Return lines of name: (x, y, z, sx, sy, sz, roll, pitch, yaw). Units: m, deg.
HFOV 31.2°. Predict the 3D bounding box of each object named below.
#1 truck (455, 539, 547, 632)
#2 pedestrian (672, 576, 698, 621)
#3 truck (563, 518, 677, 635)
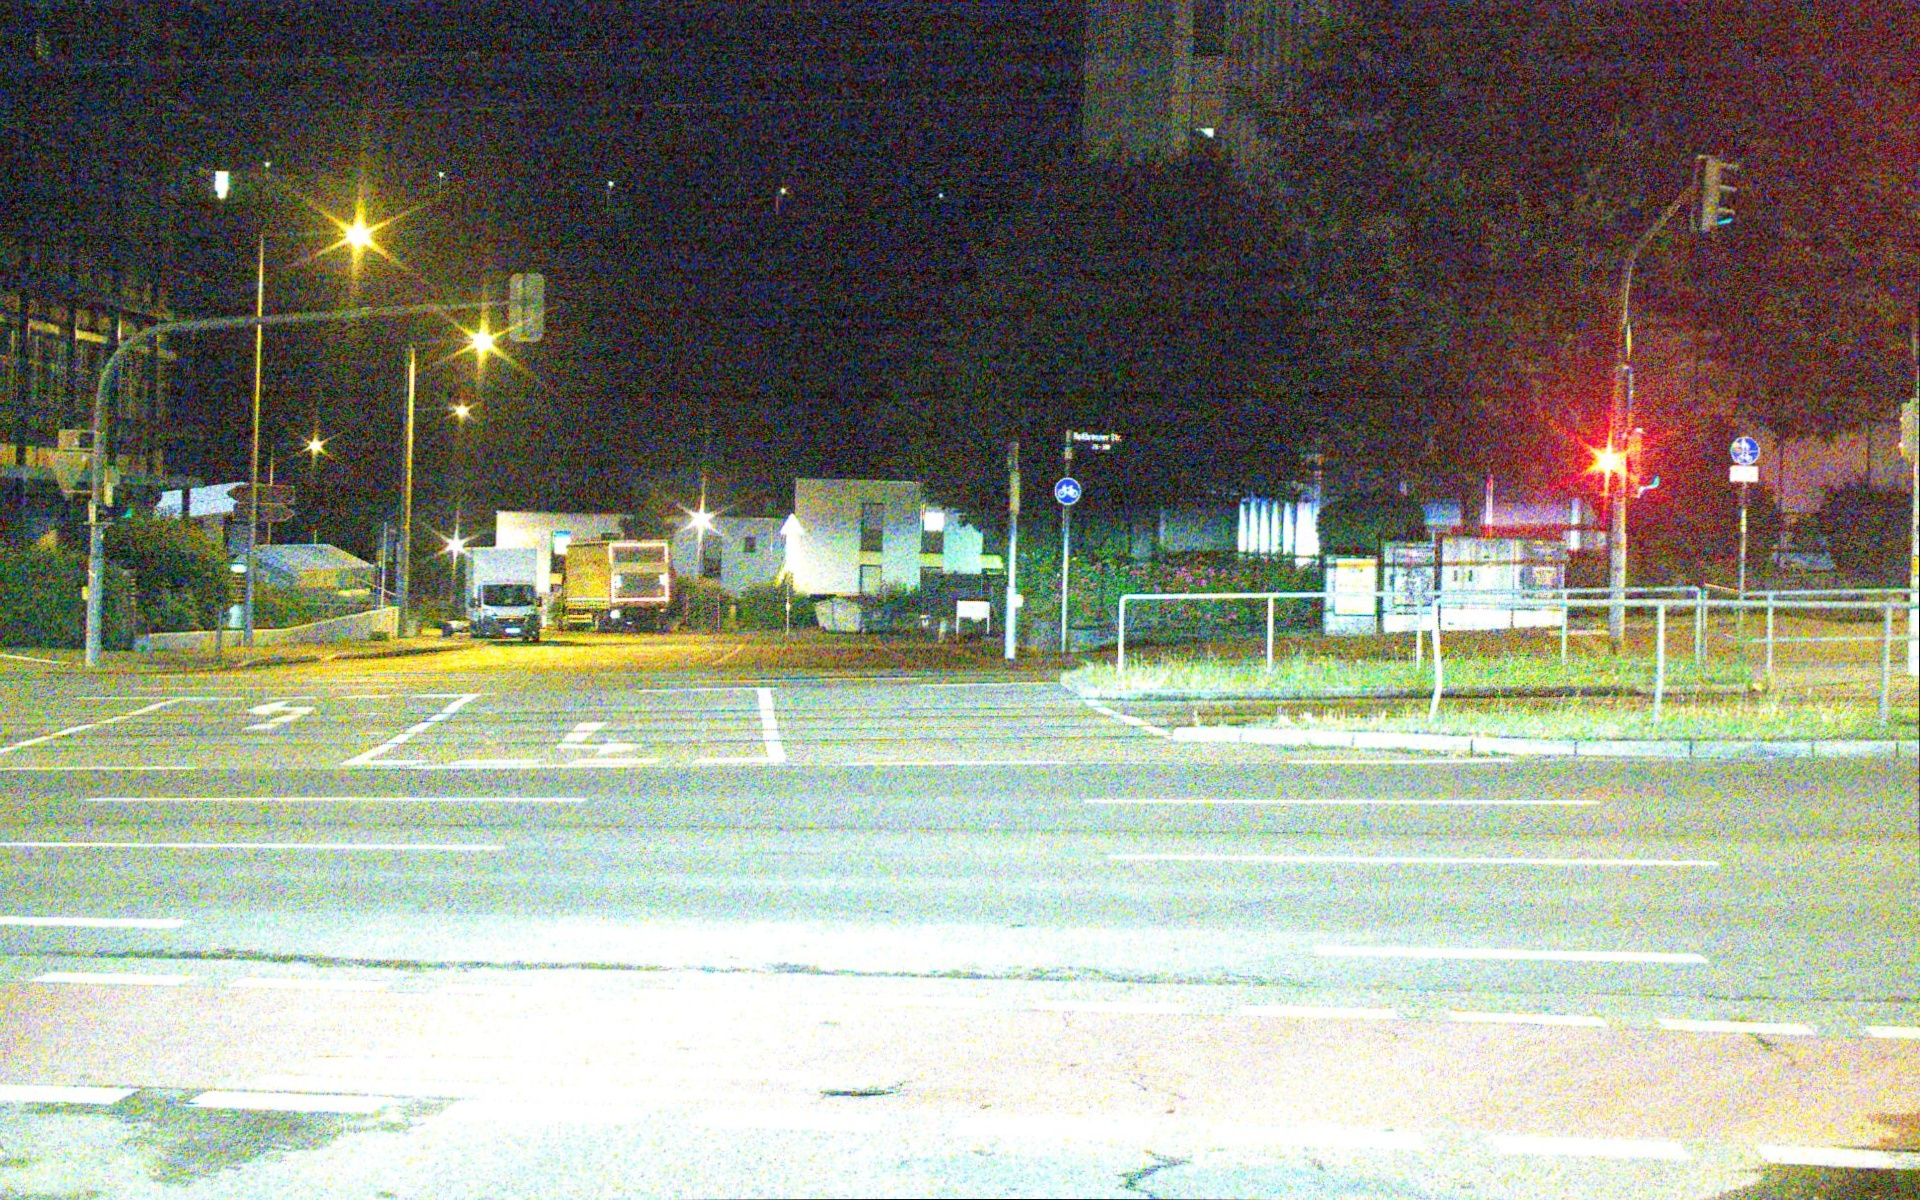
truck: (-15.934, -0.485, 119.004, 2.417, 3.078, 6.439, 1, 0, -14)
pedestrian: (-11.782, -0.074, 147.435, 0.849, 1.905, 1.007, 1, 0, -18)
truck: (-14.782, -0.996, 148.849, 3.359, 4.826, 7.908, 1, 0, -17)
